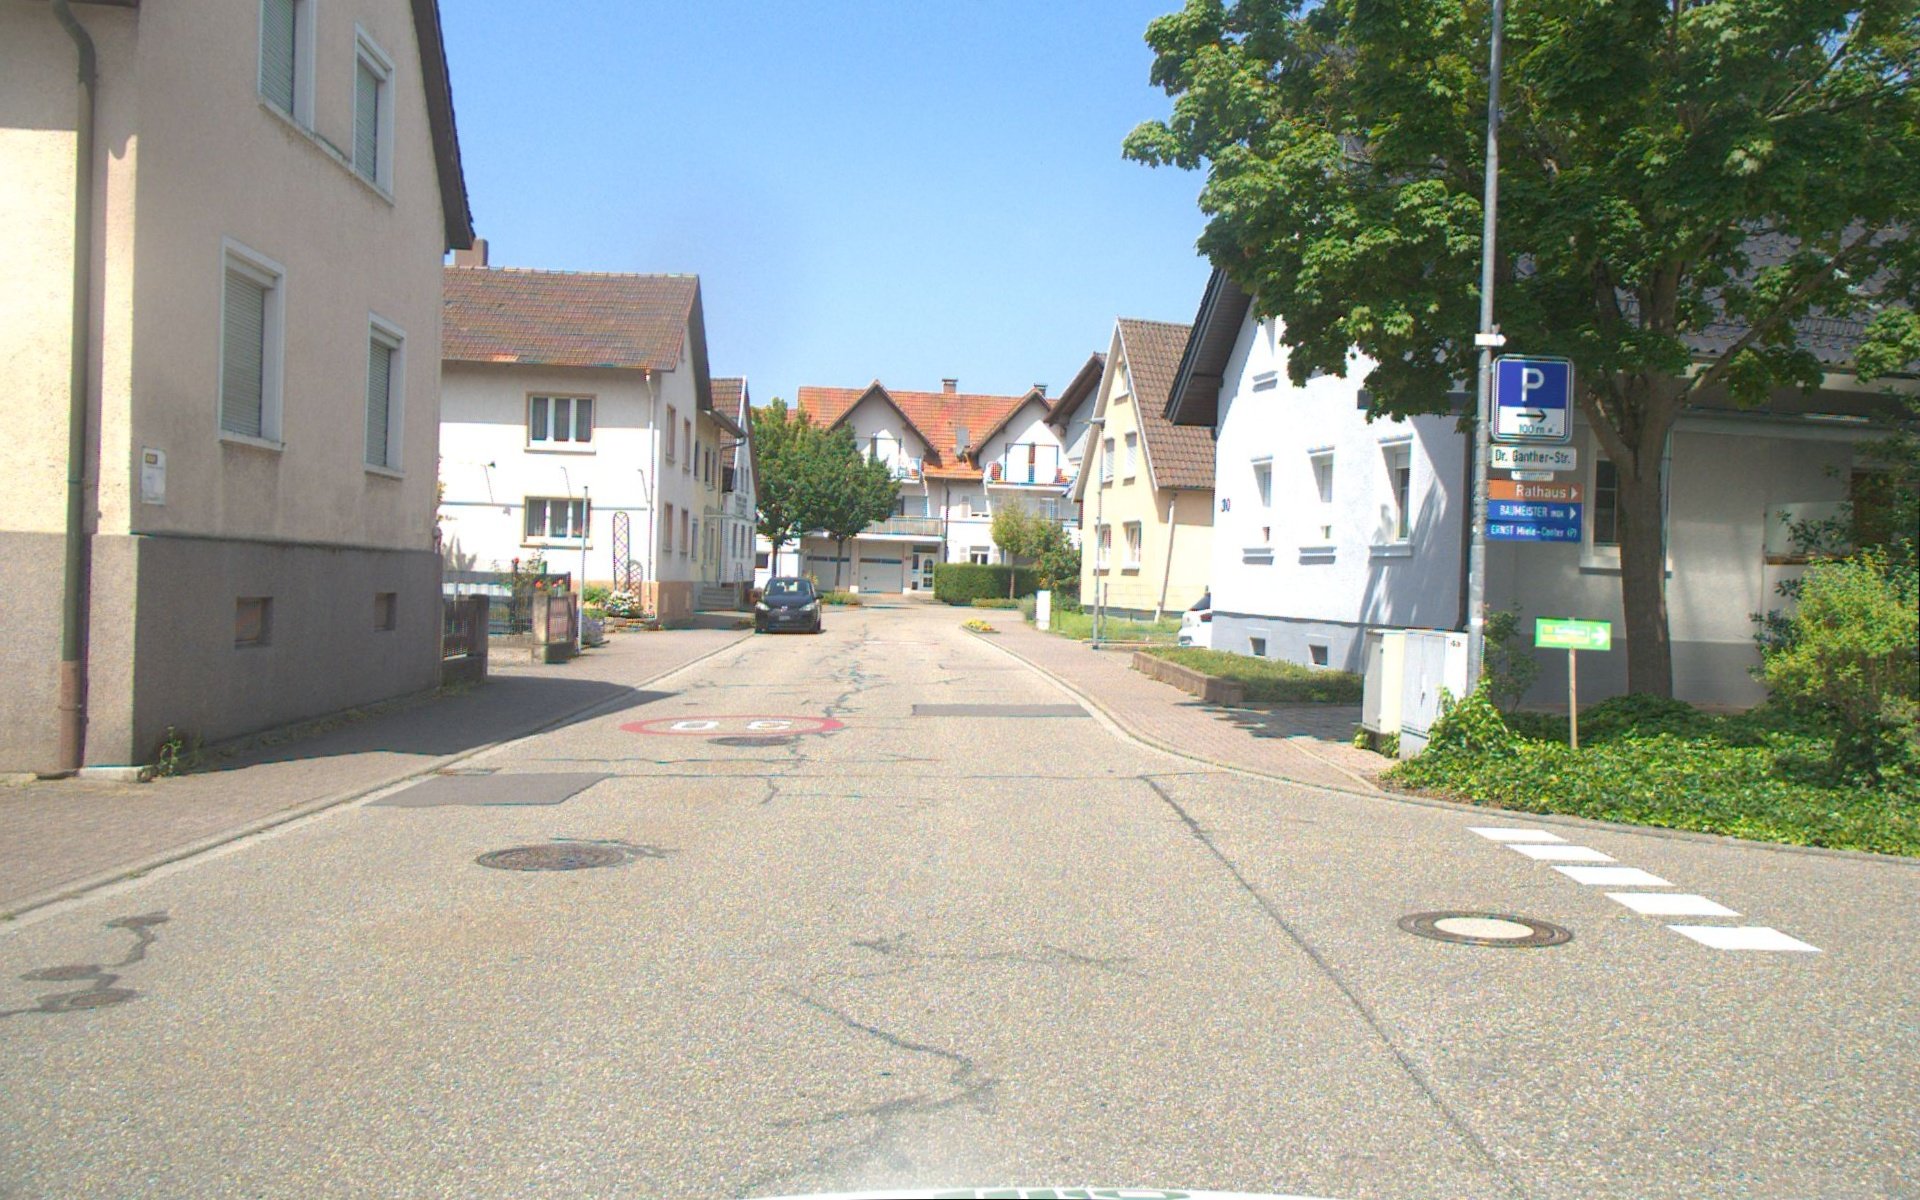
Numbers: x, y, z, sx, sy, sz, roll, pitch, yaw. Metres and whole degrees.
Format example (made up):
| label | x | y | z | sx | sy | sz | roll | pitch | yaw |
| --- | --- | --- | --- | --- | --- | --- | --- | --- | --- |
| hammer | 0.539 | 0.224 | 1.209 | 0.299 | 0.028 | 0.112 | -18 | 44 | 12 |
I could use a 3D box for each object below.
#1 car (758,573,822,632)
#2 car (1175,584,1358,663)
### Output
| label | x | y | z | sx | sy | sz | roll | pitch | yaw |
| --- | --- | --- | --- | --- | --- | --- | --- | --- | --- |
| car | -4.608 | 0.040 | 45.138 | 1.594 | 1.512 | 3.997 | 0 | 1 | -4 |
| car | 5.547 | 0.425 | 30.068 | 2.987 | 1.369 | 1.419 | 1 | 0 | -10 |
